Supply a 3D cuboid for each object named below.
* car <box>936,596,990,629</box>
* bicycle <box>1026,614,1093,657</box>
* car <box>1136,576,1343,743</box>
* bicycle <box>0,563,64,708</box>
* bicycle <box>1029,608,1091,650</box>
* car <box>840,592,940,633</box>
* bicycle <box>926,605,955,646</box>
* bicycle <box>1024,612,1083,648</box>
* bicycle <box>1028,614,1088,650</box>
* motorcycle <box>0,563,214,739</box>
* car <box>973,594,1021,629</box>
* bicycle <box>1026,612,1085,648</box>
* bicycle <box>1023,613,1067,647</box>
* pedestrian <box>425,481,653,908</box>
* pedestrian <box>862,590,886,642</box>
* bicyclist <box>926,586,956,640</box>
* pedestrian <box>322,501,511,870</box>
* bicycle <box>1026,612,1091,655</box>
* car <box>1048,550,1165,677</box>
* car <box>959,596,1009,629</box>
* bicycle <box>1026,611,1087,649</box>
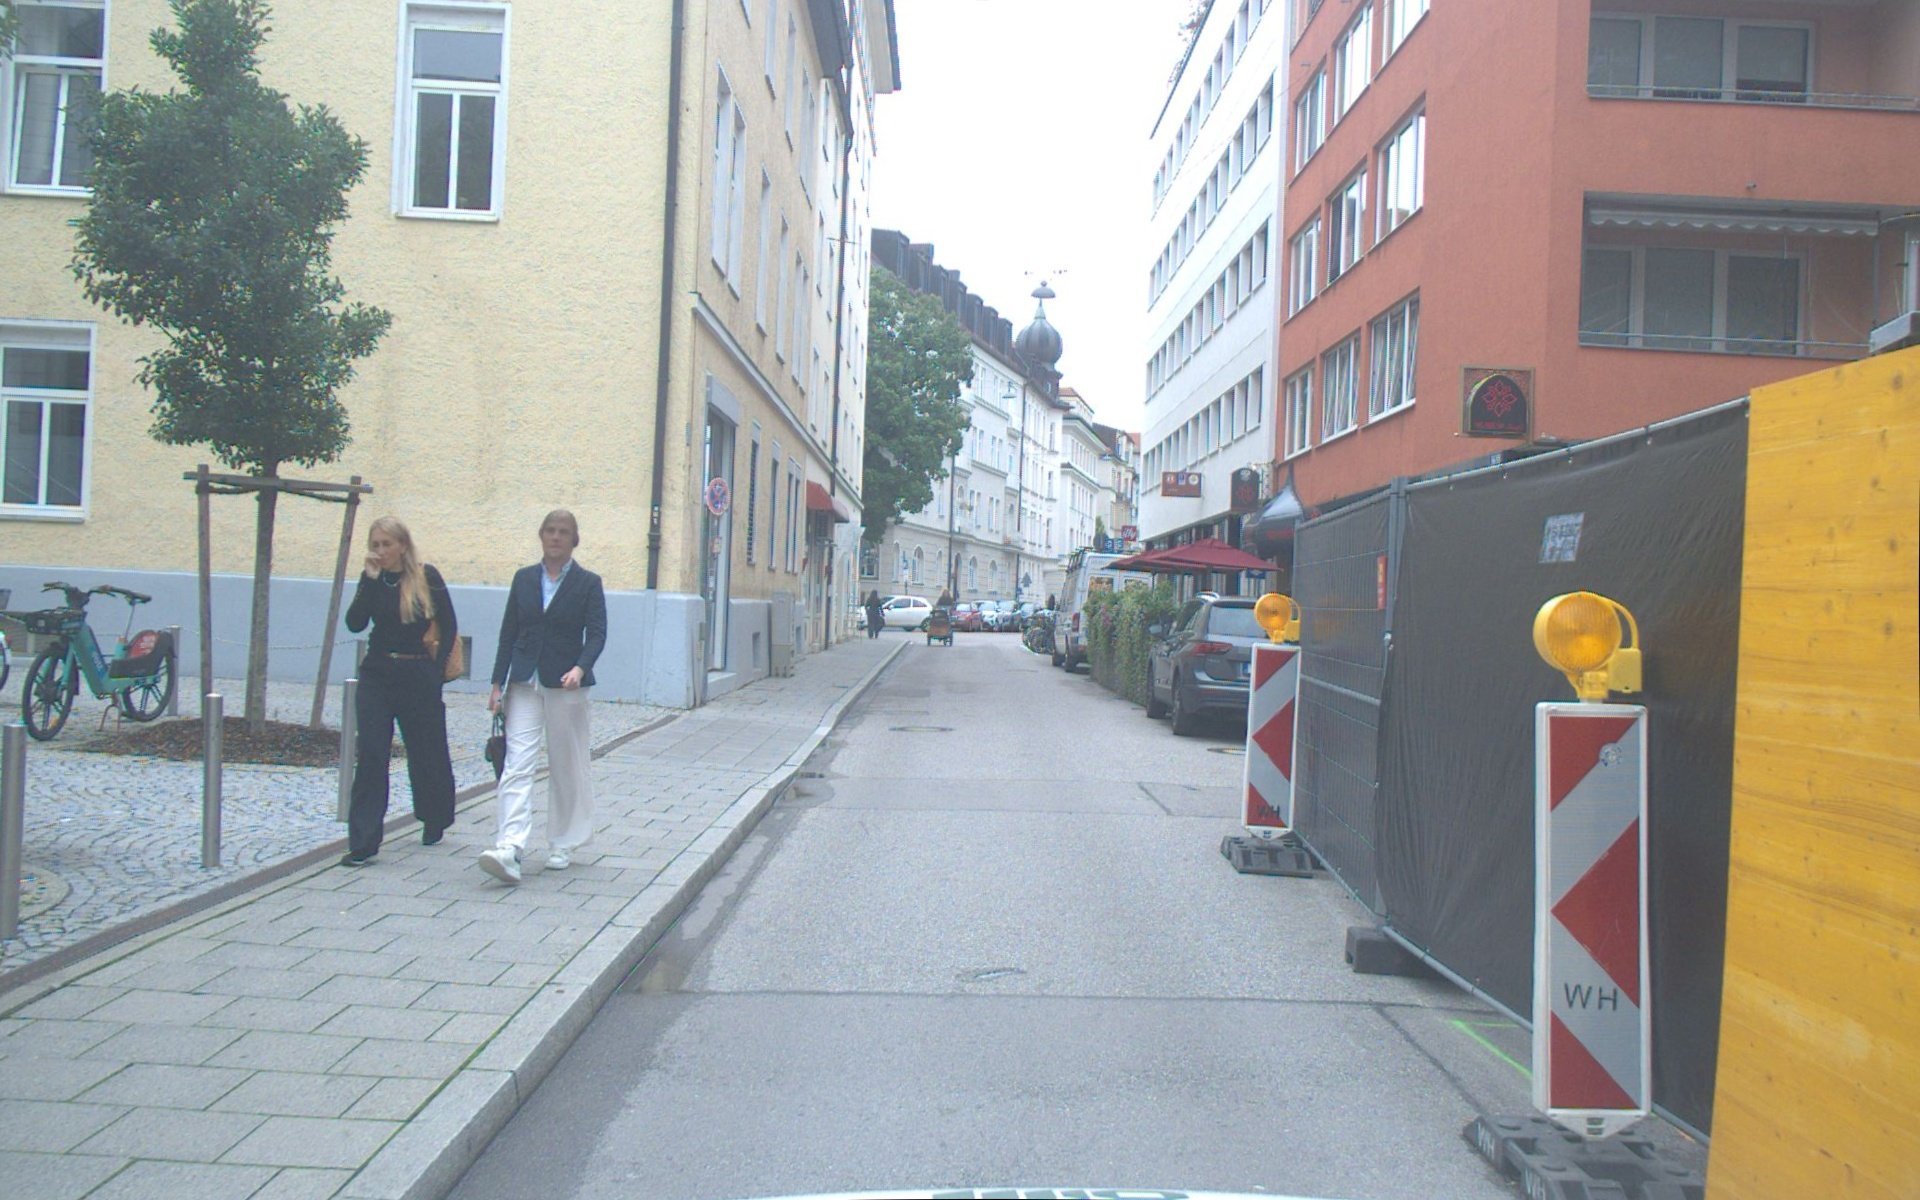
[{"bbox_3d":[0.169,0.605,77.489,1.694,1.402,4.230,2,0,11],"label":"car"},{"bbox_3d":[2.905,1.032,48.240,1.836,1.098,0.488,5,1,-3],"label":"bicycle"},{"bbox_3d":[3.319,0.663,20.425,1.787,1.740,4.389,3,0,1],"label":"car"},{"bbox_3d":[-8.839,0.247,14.108,1.933,1.193,0.748,3,-1,4],"label":"bicycle"},{"bbox_3d":[3.092,0.886,51.094,1.836,1.225,0.579,1,0,-3],"label":"bicycle"},{"bbox_3d":[-2.936,0.522,69.111,3.708,1.605,1.985,2,-1,-24],"label":"car"},{"bbox_3d":[-0.630,0.837,54.091,0.913,1.279,2.413,1,-1,-1],"label":"bicycle"},{"bbox_3d":[3.063,0.985,54.104,1.837,1.098,0.408,2,1,-4],"label":"bicycle"},{"bbox_3d":[3.143,1.031,52.967,1.837,1.070,0.564,2,-2,-4],"label":"bicycle"},{"bbox_3d":[-6.442,0.362,12.435,0.564,1.193,1.982,3,-1,5],"label":"motorcycle"},{"bbox_3d":[1.991,0.604,87.548,1.901,1.732,4.003,3,0,10],"label":"car"},{"bbox_3d":[3.102,0.975,53.665,1.837,1.098,0.402,2,1,-4],"label":"bicycle"},{"bbox_3d":[2.903,1.036,56.576,1.424,1.088,0.462,3,0,-8],"label":"bicycle"},{"bbox_3d":[-1.961,0.423,7.854,0.760,1.868,0.991,2,-1,-1],"label":"pedestrian"},{"bbox_3d":[-2.851,0.531,54.876,0.679,1.660,0.663,3,-1,-1],"label":"pedestrian"},{"bbox_3d":[-0.620,0.424,54.413,0.907,1.751,1.099,1,0,0],"label":"bicyclist"},{"bbox_3d":[-2.658,0.399,8.175,0.541,1.689,0.997,2,-1,-1],"label":"pedestrian"},{"bbox_3d":[2.920,0.991,49.157,1.836,1.127,0.488,4,1,-3],"label":"bicycle"},{"bbox_3d":[3.257,0.280,37.882,1.882,2.549,5.995,3,0,-1],"label":"car"},{"bbox_3d":[1.236,0.624,82.421,1.951,1.499,4.222,2,0,8],"label":"car"},{"bbox_3d":[3.055,0.954,52.264,1.837,1.114,0.439,2,1,-4],"label":"bicycle"}]
